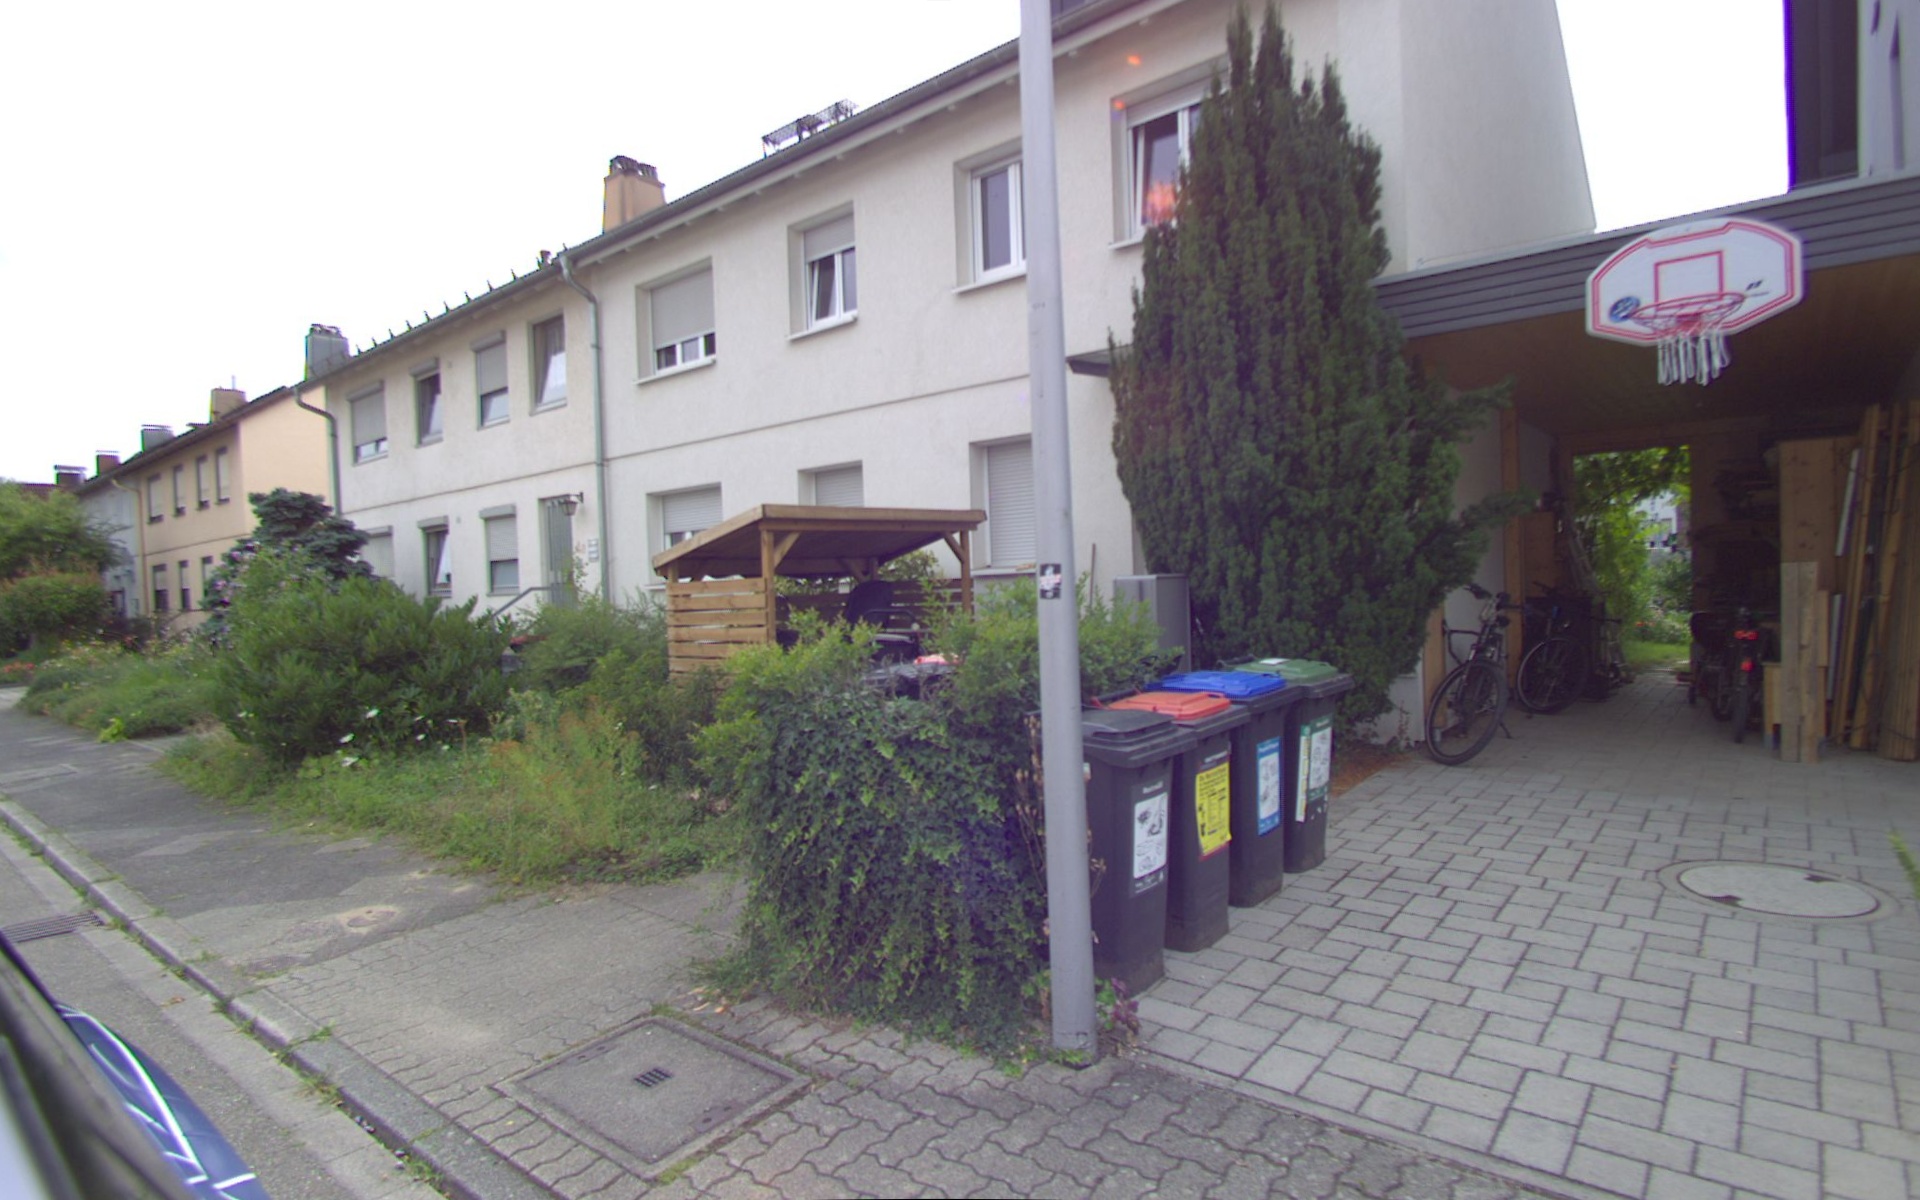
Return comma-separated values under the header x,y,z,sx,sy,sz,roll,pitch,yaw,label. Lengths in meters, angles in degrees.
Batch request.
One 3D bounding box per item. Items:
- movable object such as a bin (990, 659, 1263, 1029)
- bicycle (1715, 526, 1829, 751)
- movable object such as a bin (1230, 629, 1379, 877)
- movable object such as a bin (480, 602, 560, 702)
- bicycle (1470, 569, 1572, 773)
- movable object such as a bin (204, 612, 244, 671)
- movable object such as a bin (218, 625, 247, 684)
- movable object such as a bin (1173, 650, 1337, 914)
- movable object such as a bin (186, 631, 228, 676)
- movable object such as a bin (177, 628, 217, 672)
x,y,z,sx,sy,sz,roll,pitch,yaw,label
0.564,0.744,3.421,0.664,1.035,0.596,-2,1,41,movable object such as a bin
5.683,0.215,7.037,0.489,1.357,2.068,-2,0,42,bicycle
1.553,0.652,4.562,0.467,1.011,0.443,-2,2,41,movable object such as a bin
-5.784,0.665,13.302,0.734,1.249,0.689,-2,-1,40,movable object such as a bin
3.658,0.385,6.680,0.424,1.159,1.797,-2,1,25,bicycle
-18.013,1.016,24.773,0.632,1.395,0.646,-2,-1,40,movable object such as a bin
-17.488,1.302,24.330,0.610,1.395,0.406,-2,-1,40,movable object such as a bin
1.224,0.713,4.195,0.467,0.963,0.462,-2,2,41,movable object such as a bin
-17.745,1.249,23.850,0.632,1.029,0.646,-2,-1,40,movable object such as a bin
-18.242,1.198,24.191,0.541,1.010,0.646,-2,-1,40,movable object such as a bin
